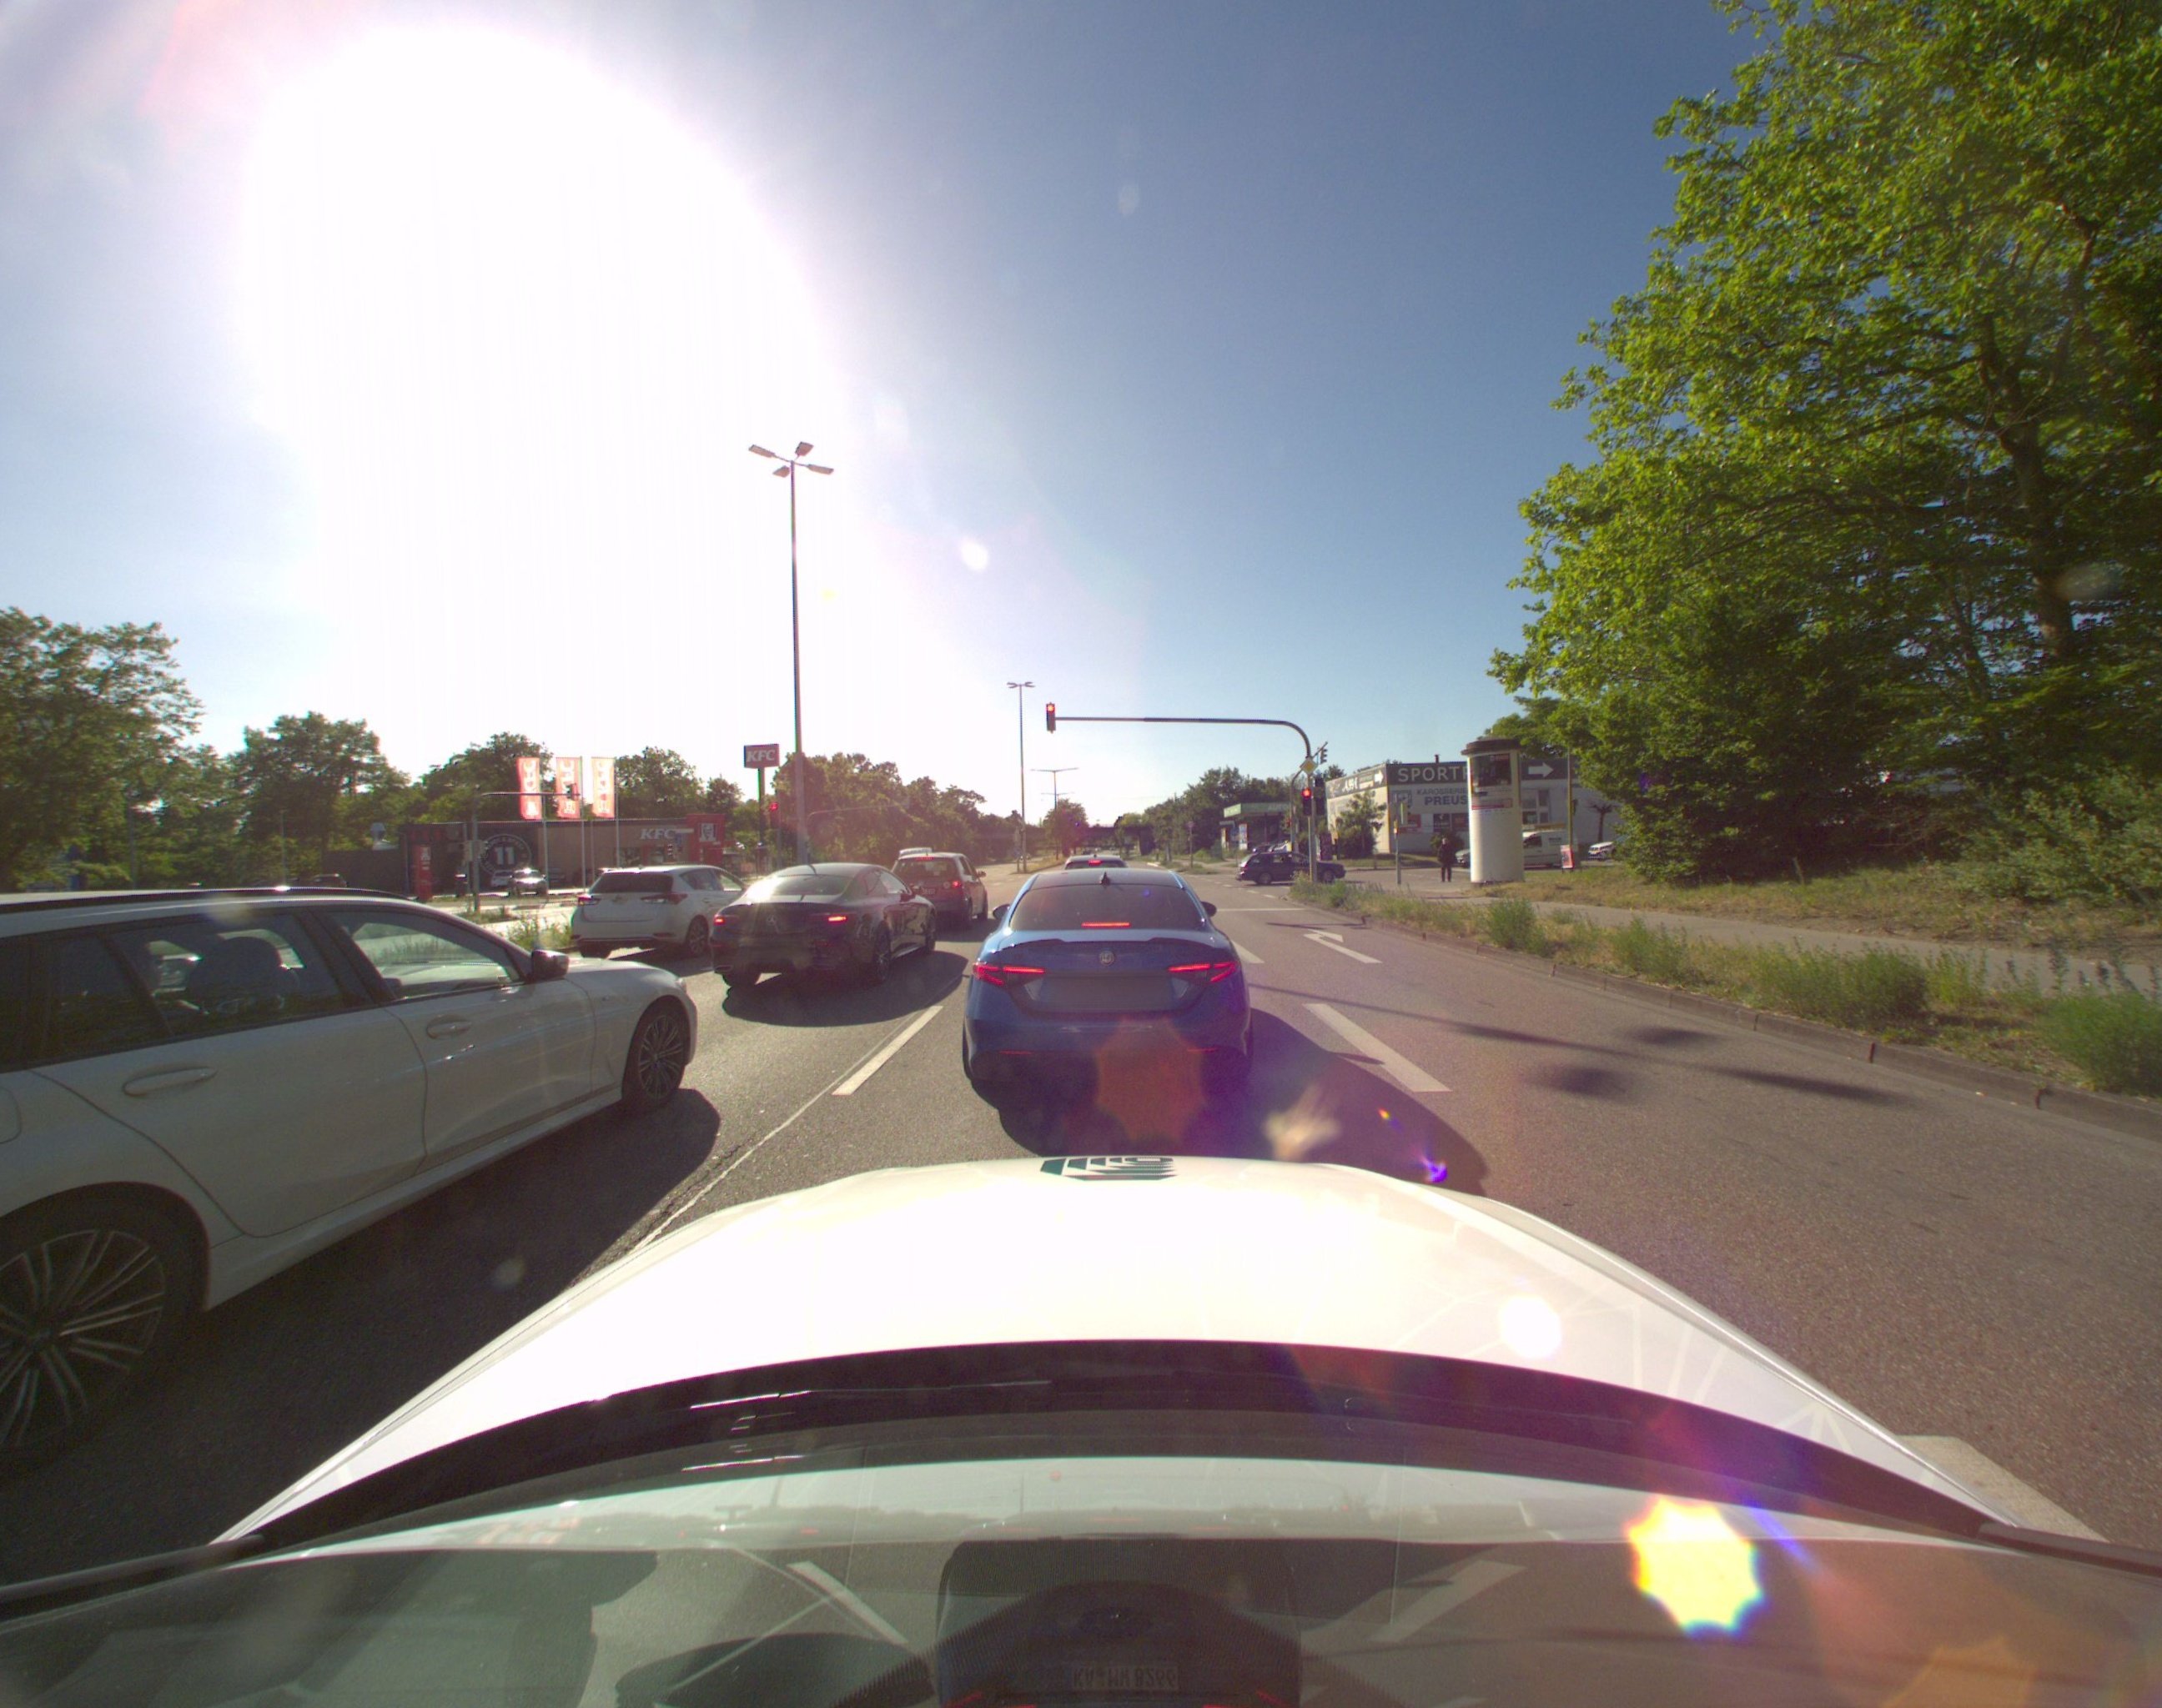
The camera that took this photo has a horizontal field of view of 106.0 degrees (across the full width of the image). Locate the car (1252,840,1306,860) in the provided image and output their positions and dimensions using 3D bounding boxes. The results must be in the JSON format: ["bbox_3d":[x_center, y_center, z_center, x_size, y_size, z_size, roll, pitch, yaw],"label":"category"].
[{"bbox_3d":[17.945,-0.346,73.920,4.470,1.454,1.860,-4,0,3],"label":"car"}]

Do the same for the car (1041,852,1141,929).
[{"bbox_3d":[0.218,0.698,17.371,1.844,1.418,4.403,0,0,1],"label":"car"}]

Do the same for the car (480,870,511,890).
[{"bbox_3d":[-45.638,2.035,63.419,1.670,1.471,3.872,0,-1,-40],"label":"car"}]

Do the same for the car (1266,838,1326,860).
[{"bbox_3d":[17.709,-0.403,67.117,4.470,1.454,1.860,-4,0,3],"label":"car"}]

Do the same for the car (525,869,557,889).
[{"bbox_3d":[-43.145,1.966,65.073,1.670,1.471,3.872,0,-1,-40],"label":"car"}]

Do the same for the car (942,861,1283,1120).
[{"bbox_3d":[0.208,0.776,6.728,1.889,1.418,4.403,0,0,1],"label":"car"}]

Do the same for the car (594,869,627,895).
[{"bbox_3d":[-33.666,1.942,58.354,1.920,1.752,4.315,0,-1,-29],"label":"car"}]

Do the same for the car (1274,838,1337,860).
[{"bbox_3d":[17.703,-0.417,64.336,4.470,1.454,1.860,-4,0,3],"label":"car"}]

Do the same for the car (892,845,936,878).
[{"bbox_3d":[-13.703,0.586,67.194,2.015,2.447,5.823,-5,0,1],"label":"car"}]

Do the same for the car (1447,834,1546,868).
[{"bbox_3d":[21.767,-0.192,42.727,4.273,1.549,1.765,-3,1,0],"label":"car"}]

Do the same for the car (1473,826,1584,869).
[{"bbox_3d":[21.589,-0.333,39.386,4.367,1.801,1.765,-3,1,0],"label":"car"}]

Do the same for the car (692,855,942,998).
[{"bbox_3d":[-3.169,0.784,10.824,1.790,1.490,4.476,0,-1,1],"label":"car"}]

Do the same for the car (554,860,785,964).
[{"bbox_3d":[-6.752,0.858,13.950,1.753,1.490,4.197,0,-1,1],"label":"car"}]

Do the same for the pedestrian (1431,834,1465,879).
[{"bbox_3d":[14.242,0.098,31.620,0.922,1.735,0.939,0,-1,1],"label":"pedestrian"}]

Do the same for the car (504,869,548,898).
[{"bbox_3d":[-37.336,1.948,54.874,2.005,1.765,4.315,0,-1,-29],"label":"car"}]

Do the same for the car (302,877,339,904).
[{"bbox_3d":[-52.371,2.474,56.108,1.670,1.673,3.897,0,-1,-40],"label":"car"}]

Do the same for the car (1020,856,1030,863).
[{"bbox_3d":[-12.635,1.244,183.990,1.752,1.490,4.480,-3,0,2],"label":"car"}]

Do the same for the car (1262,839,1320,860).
[{"bbox_3d":[17.986,-0.374,69.866,4.470,1.454,1.860,-4,0,3],"label":"car"}]

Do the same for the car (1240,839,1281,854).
[{"bbox_3d":[21.388,-0.871,97.029,4.532,1.490,1.766,-4,0,3],"label":"car"}]

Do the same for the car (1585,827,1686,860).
[{"bbox_3d":[29.107,-0.538,42.841,4.028,1.490,1.782,-3,0,-1],"label":"car"}]

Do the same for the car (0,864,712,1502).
[{"bbox_3d":[-3.426,0.803,3.319,1.779,1.490,4.403,0,-1,1],"label":"car"}]

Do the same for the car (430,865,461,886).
[{"bbox_3d":[-47.638,1.574,61.003,1.670,1.471,3.872,0,-1,-40],"label":"car"}]

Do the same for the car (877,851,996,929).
[{"bbox_3d":[-3.024,0.719,17.926,1.753,1.490,4.403,0,-1,1],"label":"car"}]

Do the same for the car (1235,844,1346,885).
[{"bbox_3d":[9.105,0.444,35.604,4.392,1.490,1.766,-4,0,3],"label":"car"}]

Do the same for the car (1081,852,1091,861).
[{"bbox_3d":[1.014,0.493,159.635,1.884,1.816,4.001,0,-1,2],"label":"car"}]
